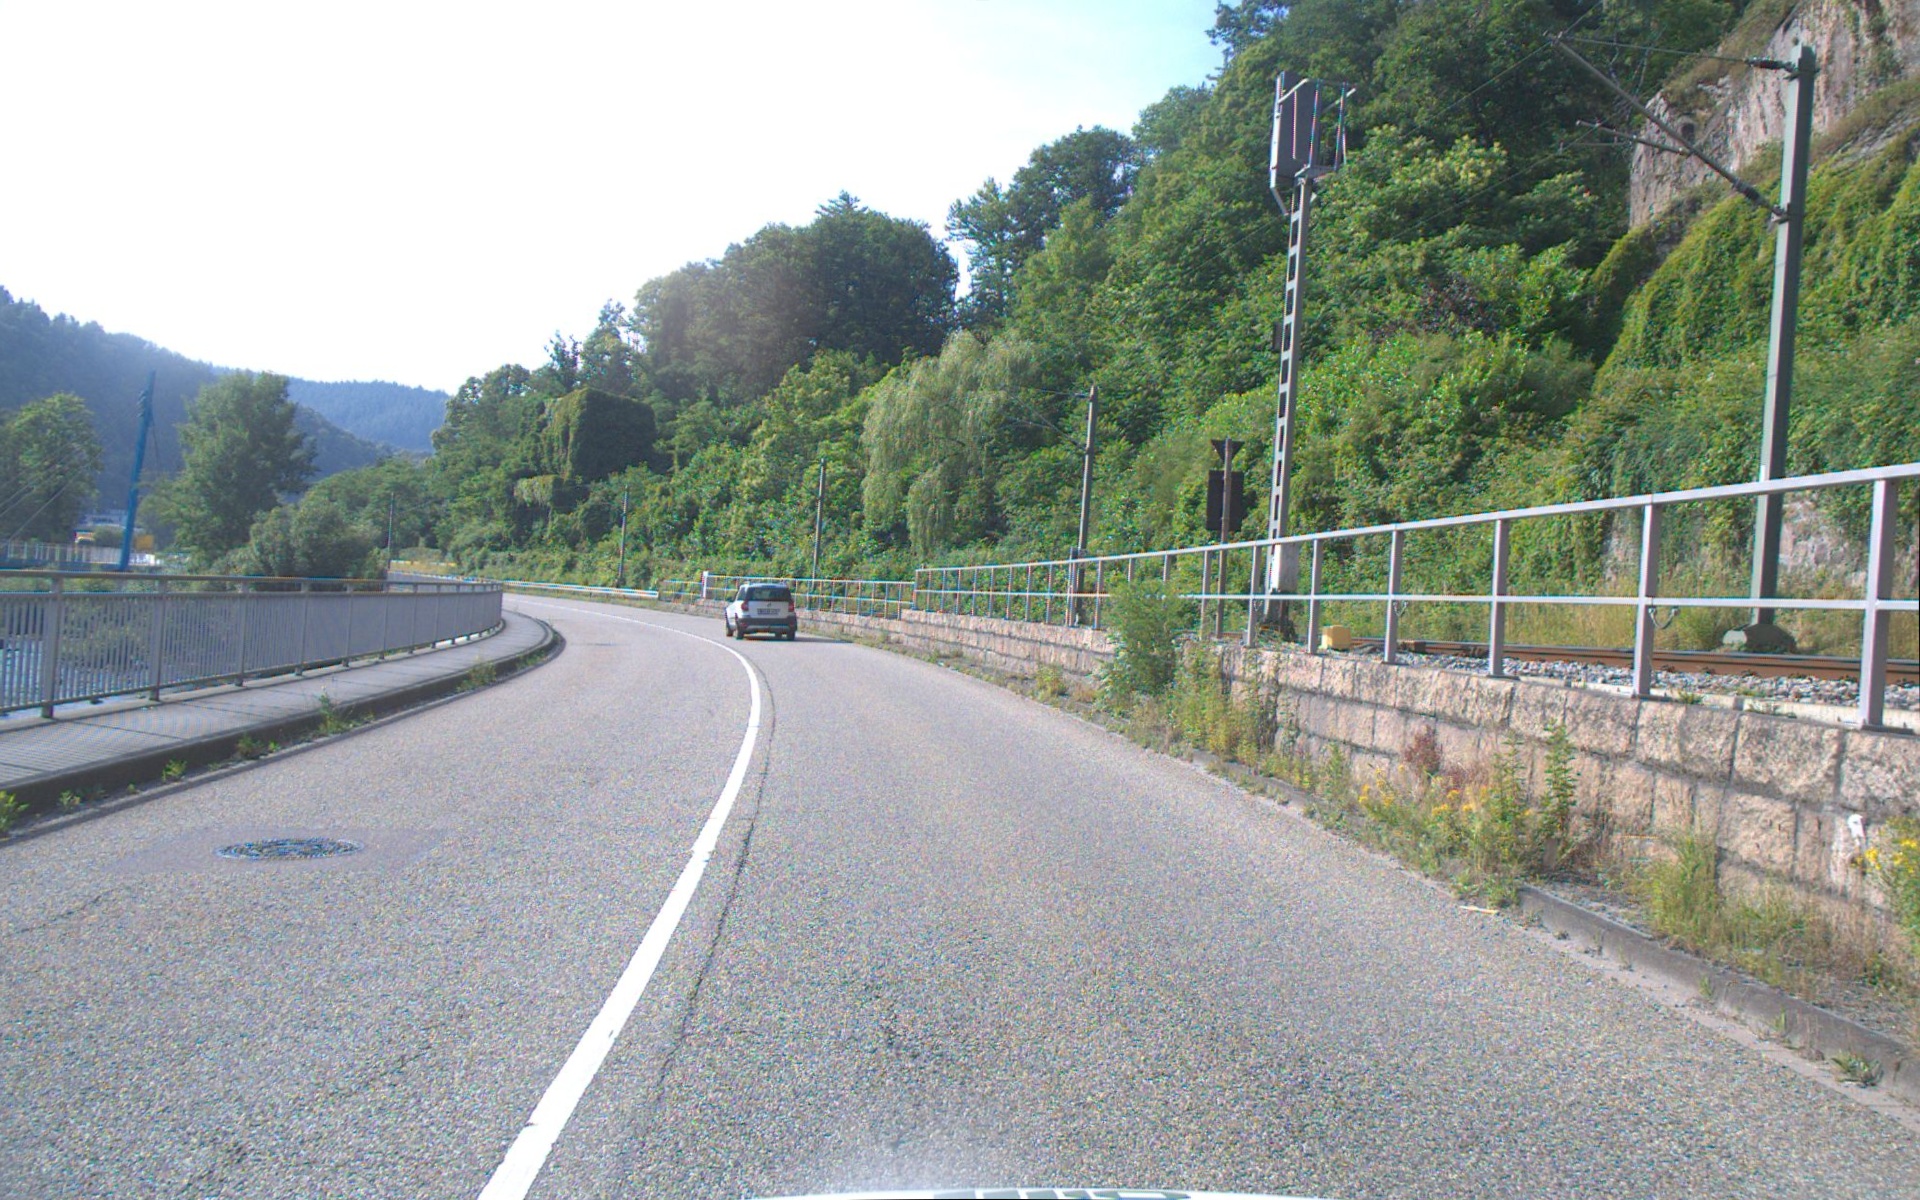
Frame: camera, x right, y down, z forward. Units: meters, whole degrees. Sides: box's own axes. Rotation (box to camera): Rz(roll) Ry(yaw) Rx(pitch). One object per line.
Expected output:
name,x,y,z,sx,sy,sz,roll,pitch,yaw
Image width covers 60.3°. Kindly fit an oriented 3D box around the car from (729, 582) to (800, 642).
car,-5.877,0.325,49.459,1.839,1.685,3.990,2,0,-10
